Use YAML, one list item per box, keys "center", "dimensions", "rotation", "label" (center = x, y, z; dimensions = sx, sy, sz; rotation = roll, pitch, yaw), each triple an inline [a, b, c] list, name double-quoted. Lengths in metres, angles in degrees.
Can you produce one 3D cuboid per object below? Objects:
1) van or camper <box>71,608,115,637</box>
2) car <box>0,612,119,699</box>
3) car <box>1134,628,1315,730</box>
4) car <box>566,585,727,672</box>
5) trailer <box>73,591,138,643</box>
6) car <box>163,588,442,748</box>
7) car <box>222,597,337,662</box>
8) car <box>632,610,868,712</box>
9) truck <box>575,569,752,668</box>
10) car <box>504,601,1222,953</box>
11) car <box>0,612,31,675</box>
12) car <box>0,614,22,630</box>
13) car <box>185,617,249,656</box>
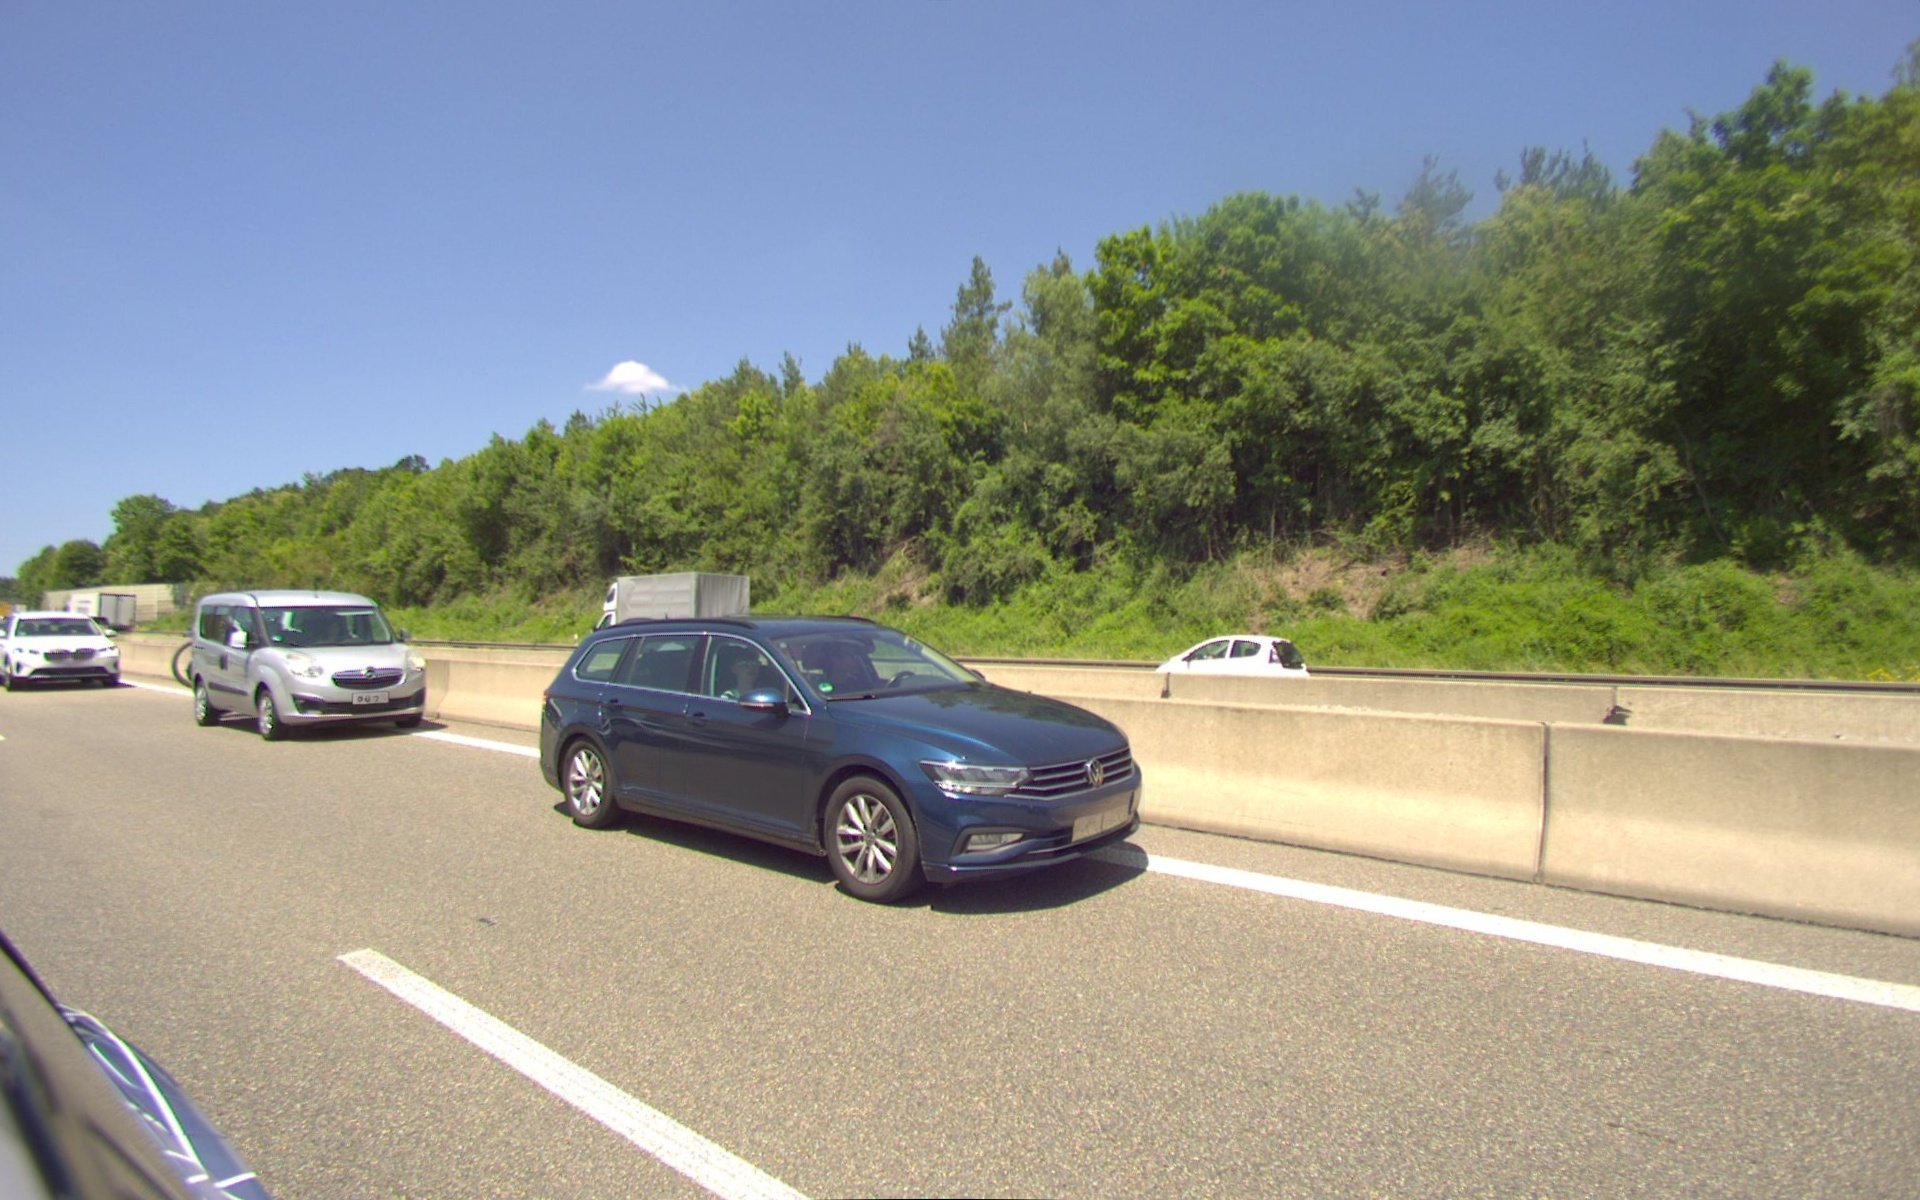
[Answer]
- center: [-64.601, 1.626, 75.378]
  dimensions: [4.927, 2.029, 1.972]
  rotation: [0, 0, 43]
  label: "van or camper"
- center: [-20.227, 1.138, 22.443]
  dimensions: [3.998, 1.719, 1.801]
  rotation: [0, 0, 41]
  label: "car"
- center: [5.910, 1.681, 22.770]
  dimensions: [3.511, 2.029, 1.832]
  rotation: [0, 0, 41]
  label: "car"
- center: [-8.117, 0.670, 25.987]
  dimensions: [4.418, 2.029, 1.972]
  rotation: [0, 0, 42]
  label: "car"
- center: [-78.553, 1.508, 92.913]
  dimensions: [10.810, 4.515, 2.919]
  rotation: [0, 0, 41]
  label: "trailer"
- center: [-8.981, 0.768, 13.642]
  dimensions: [4.914, 1.786, 1.833]
  rotation: [0, 0, 40]
  label: "car"
- center: [-22.905, 0.927, 34.001]
  dimensions: [4.954, 2.029, 1.973]
  rotation: [0, 0, 41]
  label: "car"
- center: [-3.588, 0.957, 16.945]
  dimensions: [3.996, 1.506, 1.806]
  rotation: [-1, -2, 40]
  label: "car"
- center: [-9.655, 0.551, 32.583]
  dimensions: [6.738, 2.906, 2.155]
  rotation: [0, 0, 40]
  label: "truck"
- center: [-0.913, 0.758, 6.448]
  dimensions: [4.675, 1.461, 1.855]
  rotation: [-1, -1, 41]
  label: "car"
- center: [-28.970, 1.261, 29.763]
  dimensions: [3.998, 1.770, 1.973]
  rotation: [0, 0, 41]
  label: "car"
- center: [-126.232, 2.952, 134.167]
  dimensions: [4.472, 2.029, 2.093]
  rotation: [0, 0, 38]
  label: "car"
- center: [-38.539, 1.843, 52.465]
  dimensions: [4.291, 1.852, 1.766]
  rotation: [0, 0, 41]
  label: "car"
